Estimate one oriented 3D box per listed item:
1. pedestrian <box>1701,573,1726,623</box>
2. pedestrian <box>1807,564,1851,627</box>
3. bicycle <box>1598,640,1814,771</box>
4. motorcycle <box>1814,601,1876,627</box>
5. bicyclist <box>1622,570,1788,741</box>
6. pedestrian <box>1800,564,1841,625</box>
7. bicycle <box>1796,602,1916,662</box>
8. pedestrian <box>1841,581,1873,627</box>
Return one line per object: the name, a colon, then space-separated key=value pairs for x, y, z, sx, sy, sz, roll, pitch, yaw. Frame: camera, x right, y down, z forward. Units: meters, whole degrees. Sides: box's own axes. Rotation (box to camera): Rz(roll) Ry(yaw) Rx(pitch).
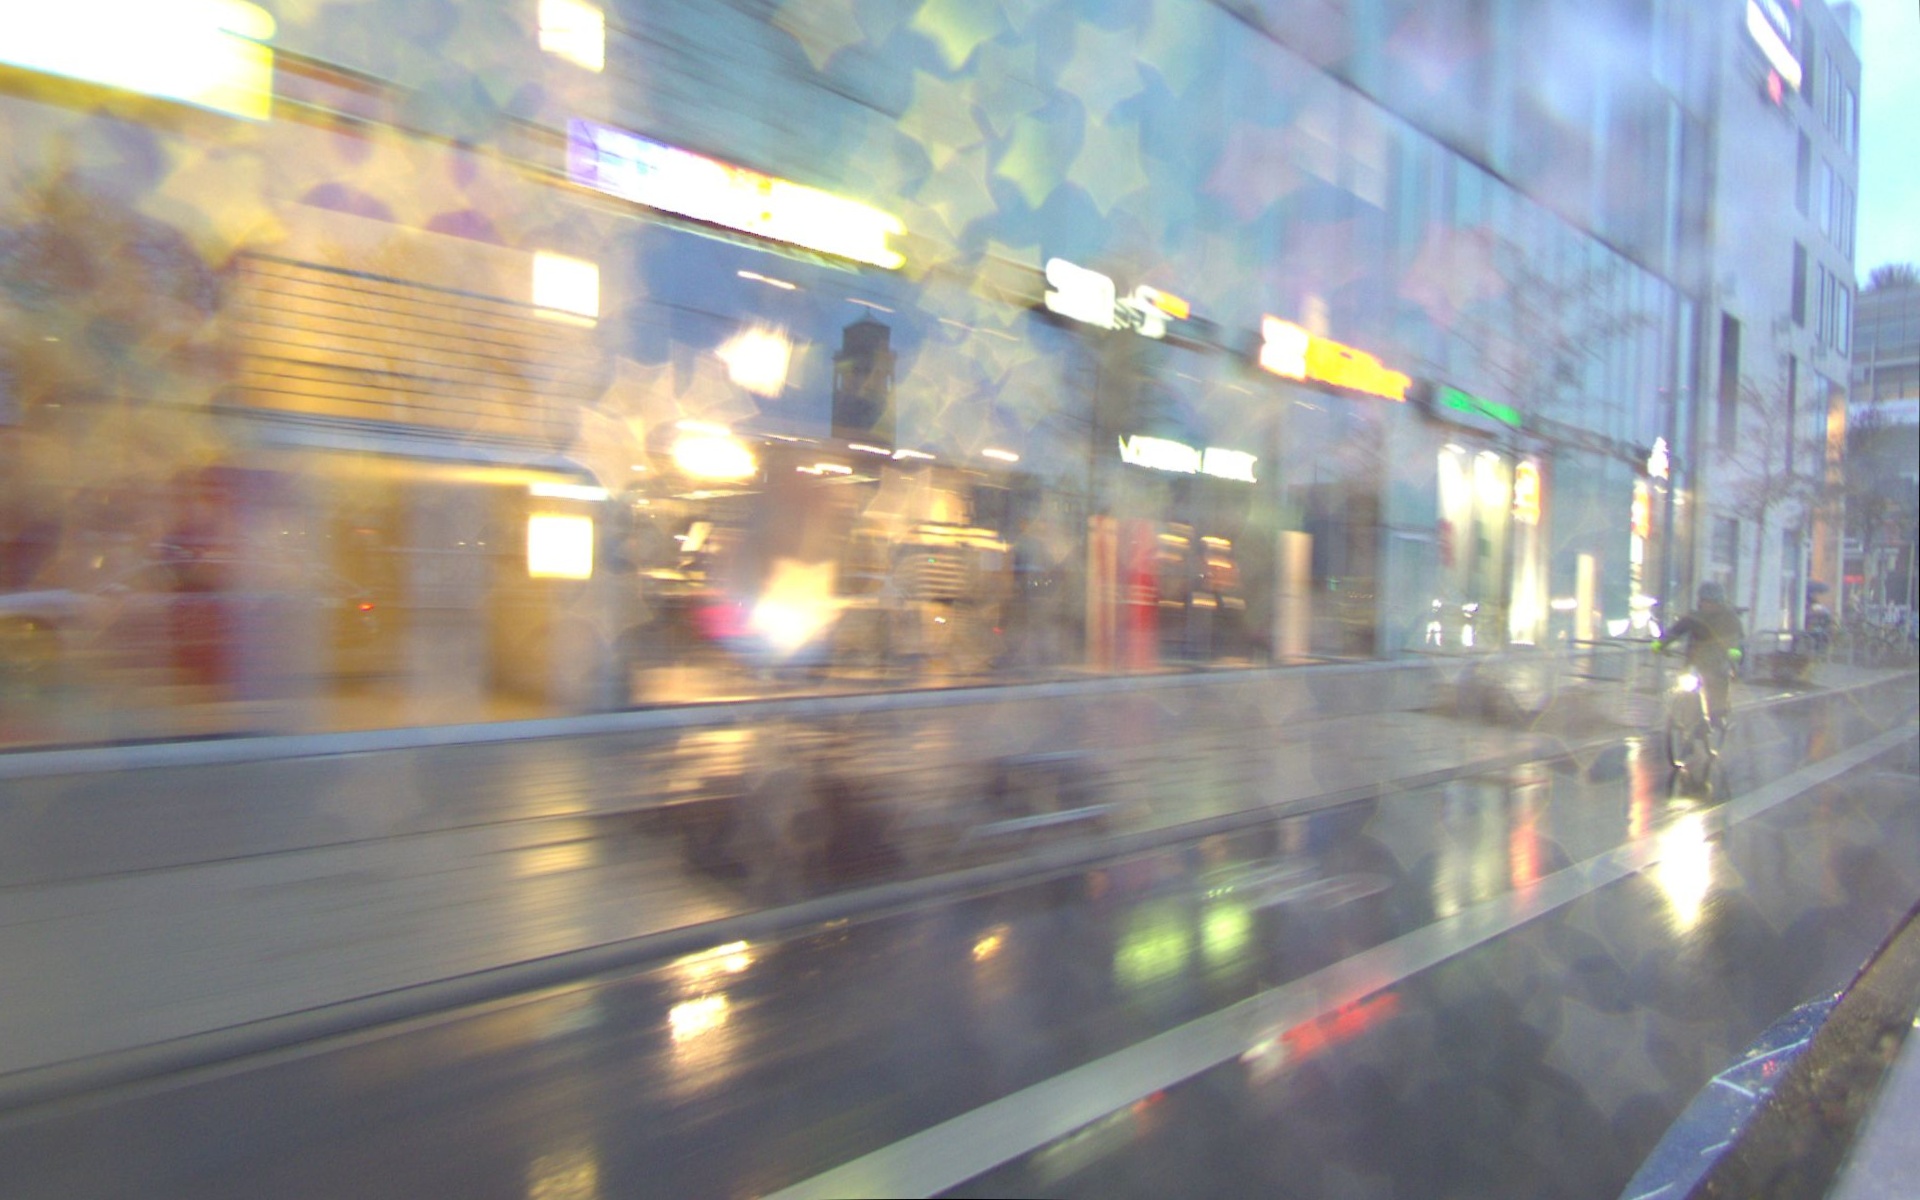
pedestrian: x=28.029 y=-0.064 z=37.652 sx=0.612 sy=1.828 sz=0.616 roll=1 pitch=0 yaw=-38
pedestrian: x=30.824 y=-0.170 z=35.904 sx=0.696 sy=2.219 sz=0.963 roll=0 pitch=1 yaw=-27
bicycle: x=7.033 y=0.924 z=9.509 sx=2.197 sy=1.012 sz=0.946 roll=0 pitch=0 yaw=-34
motorcycle: x=31.993 y=0.486 z=36.602 sx=0.387 sy=0.901 sz=1.637 roll=1 pitch=0 yaw=-37
bicyclist: x=6.953 y=0.473 z=9.452 sx=1.046 sy=1.481 sz=0.946 roll=0 pitch=0 yaw=-33
pedestrian: x=31.201 y=-0.194 z=36.691 sx=0.569 sy=2.188 sz=0.969 roll=0 pitch=1 yaw=-27
bicycle: x=20.228 y=0.701 z=22.887 sx=0.654 sy=1.189 sz=1.908 roll=0 pitch=3 yaw=-38
pedestrian: x=32.482 y=0.131 z=36.635 sx=0.492 sy=1.628 sz=0.779 roll=1 pitch=0 yaw=-38
